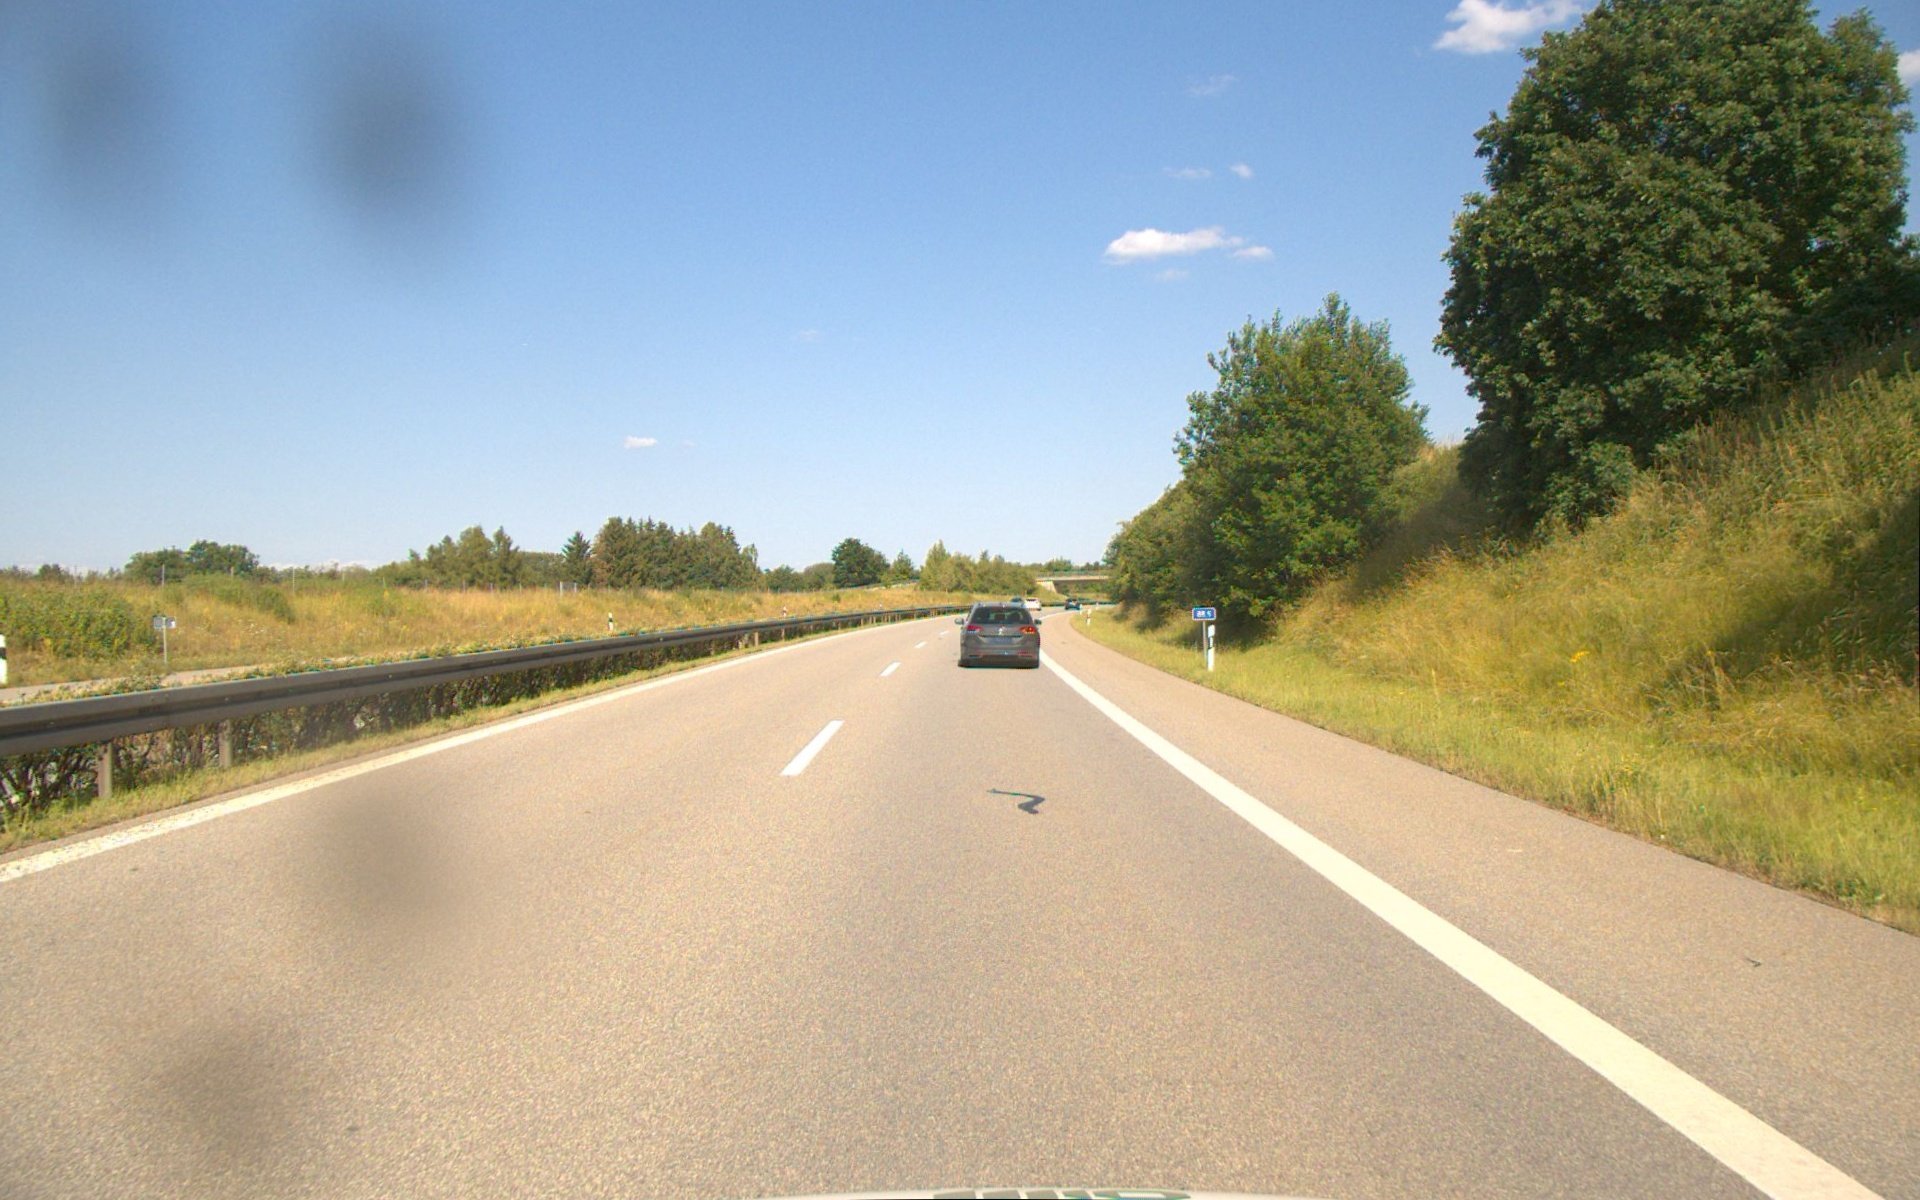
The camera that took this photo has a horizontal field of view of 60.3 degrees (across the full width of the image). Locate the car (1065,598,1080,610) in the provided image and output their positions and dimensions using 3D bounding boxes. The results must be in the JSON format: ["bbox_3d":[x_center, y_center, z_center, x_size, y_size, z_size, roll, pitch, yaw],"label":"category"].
[{"bbox_3d":[13.946,0.462,205.602,1.674,1.411,3.357,2,-1,6],"label":"car"}]

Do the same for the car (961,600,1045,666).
[{"bbox_3d":[0.982,0.735,37.401,1.754,1.368,4.000,2,-1,2],"label":"car"}]

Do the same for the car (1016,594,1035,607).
[{"bbox_3d":[7.420,0.078,185.884,1.965,1.368,4.002,2,-1,4],"label":"car"}]
